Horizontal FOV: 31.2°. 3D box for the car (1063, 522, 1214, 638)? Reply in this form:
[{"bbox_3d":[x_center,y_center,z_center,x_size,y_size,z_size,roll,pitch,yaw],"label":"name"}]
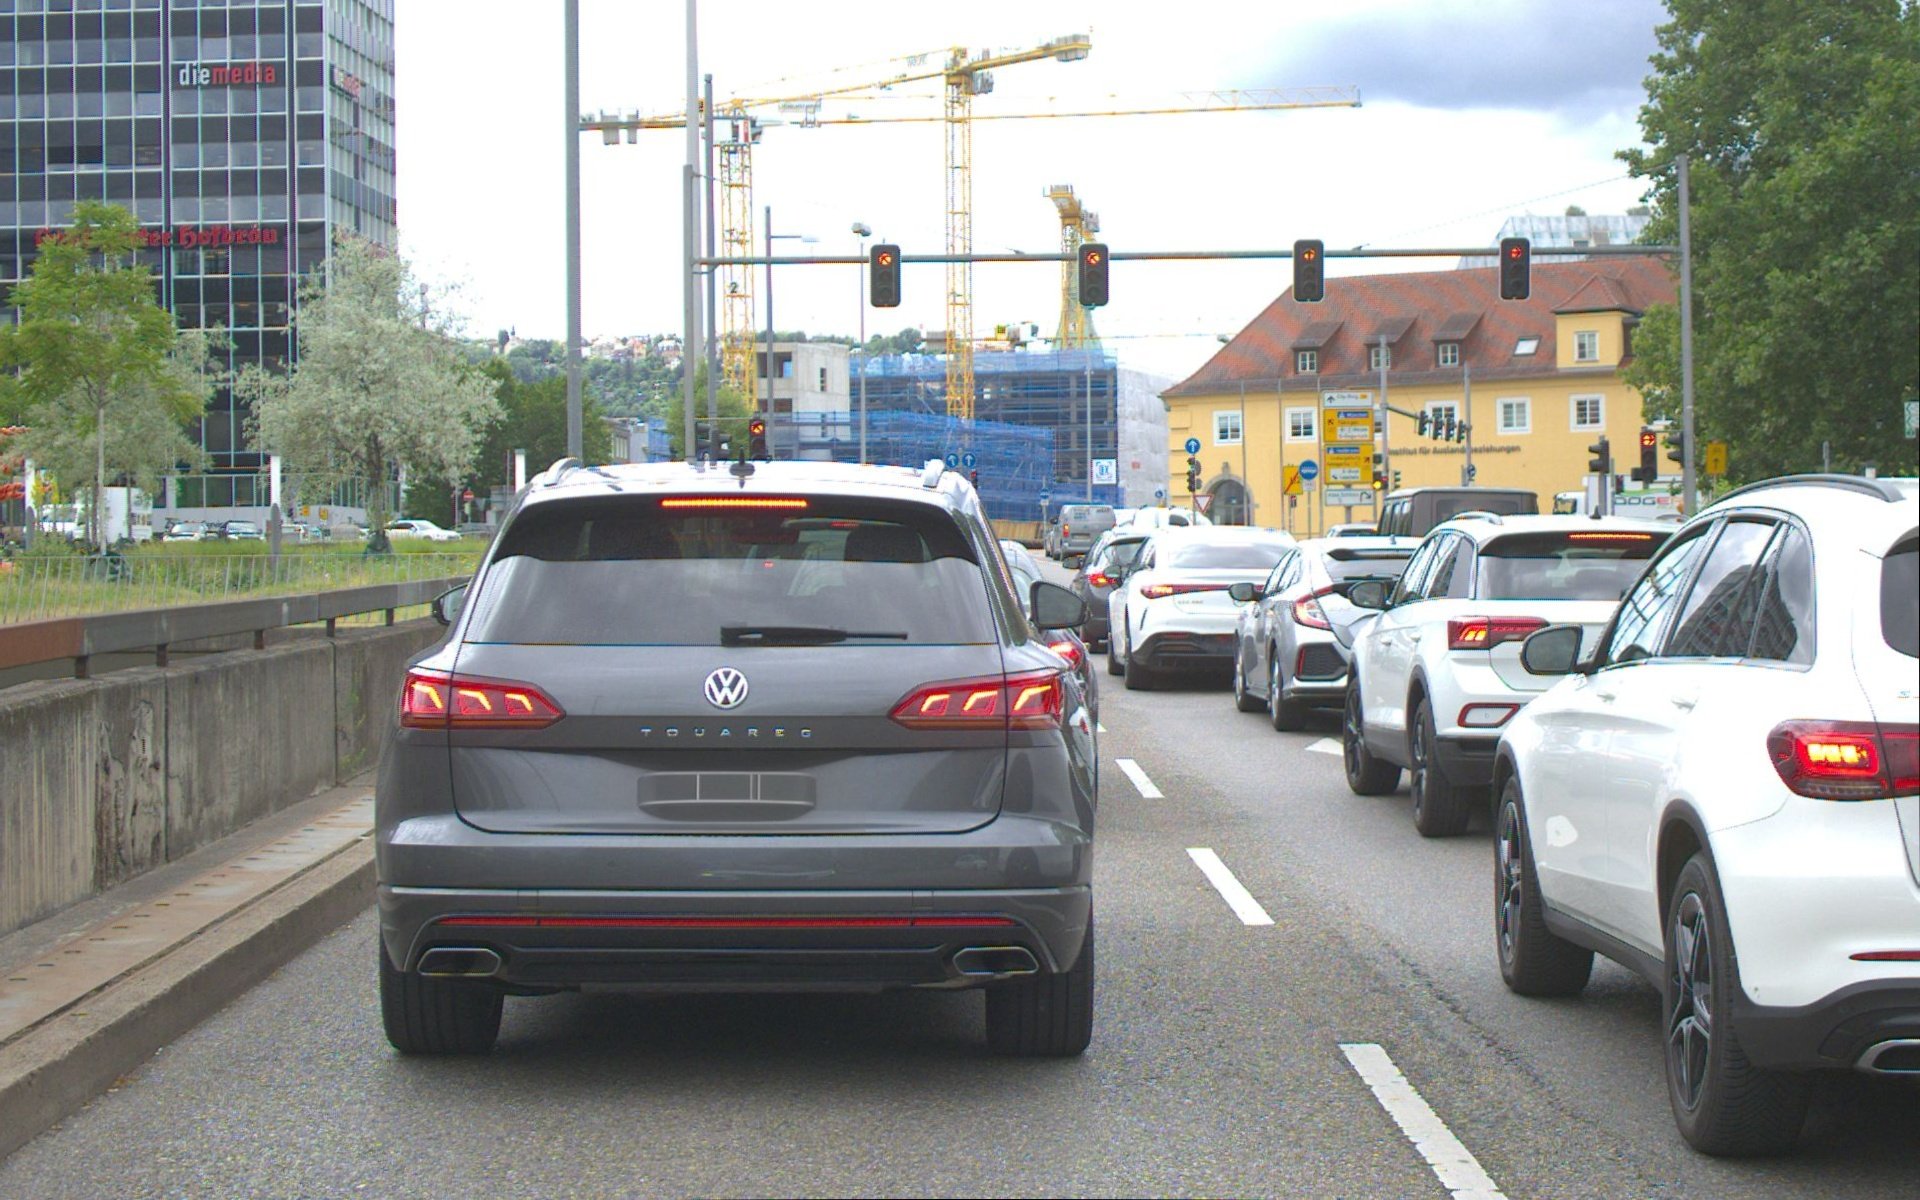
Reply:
[{"bbox_3d":[2.437,-0.282,47.881,1.926,1.524,4.048,1,1,1],"label":"car"}]

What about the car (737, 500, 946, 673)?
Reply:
[{"bbox_3d":[-1.161,-0.166,34.803,1.951,1.594,3.931,2,1,-1],"label":"car"}]

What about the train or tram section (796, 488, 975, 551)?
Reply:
[{"bbox_3d":[-3.767,-4.056,172.548,8.938,2.999,2.592,2,0,32],"label":"train or tram section"}]

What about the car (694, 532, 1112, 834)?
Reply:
[{"bbox_3d":[-0.303,0.358,18.300,1.951,1.379,3.931,2,1,-1],"label":"car"}]

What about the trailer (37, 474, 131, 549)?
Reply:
[{"bbox_3d":[-31.911,-3.251,125.374,2.037,2.595,5.509,2,2,-1],"label":"trailer"}]

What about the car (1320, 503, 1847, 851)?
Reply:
[{"bbox_3d":[3.036,0.325,17.704,1.926,1.545,4.490,1,1,1],"label":"car"}]

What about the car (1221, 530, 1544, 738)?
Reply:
[{"bbox_3d":[3.093,0.215,26.051,1.926,1.427,4.490,1,1,1],"label":"car"}]

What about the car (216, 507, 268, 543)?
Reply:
[{"bbox_3d":[-32.823,-3.421,157.227,1.732,1.489,3.595,2,0,-3],"label":"car"}]

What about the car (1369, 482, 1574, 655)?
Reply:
[{"bbox_3d":[6.324,-0.399,42.911,1.910,2.007,4.012,2,1,0],"label":"car"}]

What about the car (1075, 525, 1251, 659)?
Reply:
[{"bbox_3d":[2.404,-0.113,41.594,1.926,1.524,4.048,1,1,1],"label":"car"}]

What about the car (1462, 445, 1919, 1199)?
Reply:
[{"bbox_3d":[2.654,0.438,9.441,1.926,1.648,4.490,0,2,1],"label":"car"}]

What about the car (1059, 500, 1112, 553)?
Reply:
[{"bbox_3d":[4.196,-2.444,115.317,1.619,1.622,4.000,2,0,0],"label":"car"}]

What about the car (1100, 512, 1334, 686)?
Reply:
[{"bbox_3d":[2.374,-0.031,32.773,1.926,1.524,4.490,1,1,1],"label":"car"}]

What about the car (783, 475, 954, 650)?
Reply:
[{"bbox_3d":[-1.104,-0.478,42.376,1.951,2.011,3.931,2,1,-1],"label":"car"}]

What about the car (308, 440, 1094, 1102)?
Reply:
[{"bbox_3d":[-0.675,0.387,10.554,1.951,1.646,4.000,0,1,-1],"label":"car"}]

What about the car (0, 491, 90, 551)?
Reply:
[{"bbox_3d":[-32.053,-2.797,120.299,1.993,2.006,4.692,0,2,0],"label":"car"}]

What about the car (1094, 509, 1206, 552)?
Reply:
[{"bbox_3d":[7.577,-2.791,137.249,4.108,1.605,1.826,2,0,35],"label":"car"}]

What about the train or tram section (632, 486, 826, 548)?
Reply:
[{"bbox_3d":[-11.993,-4.290,177.719,10.415,2.999,2.592,2,0,32],"label":"train or tram section"}]

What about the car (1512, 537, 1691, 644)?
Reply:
[{"bbox_3d":[9.220,-0.156,49.643,1.757,1.442,3.634,2,1,-2],"label":"car"}]
